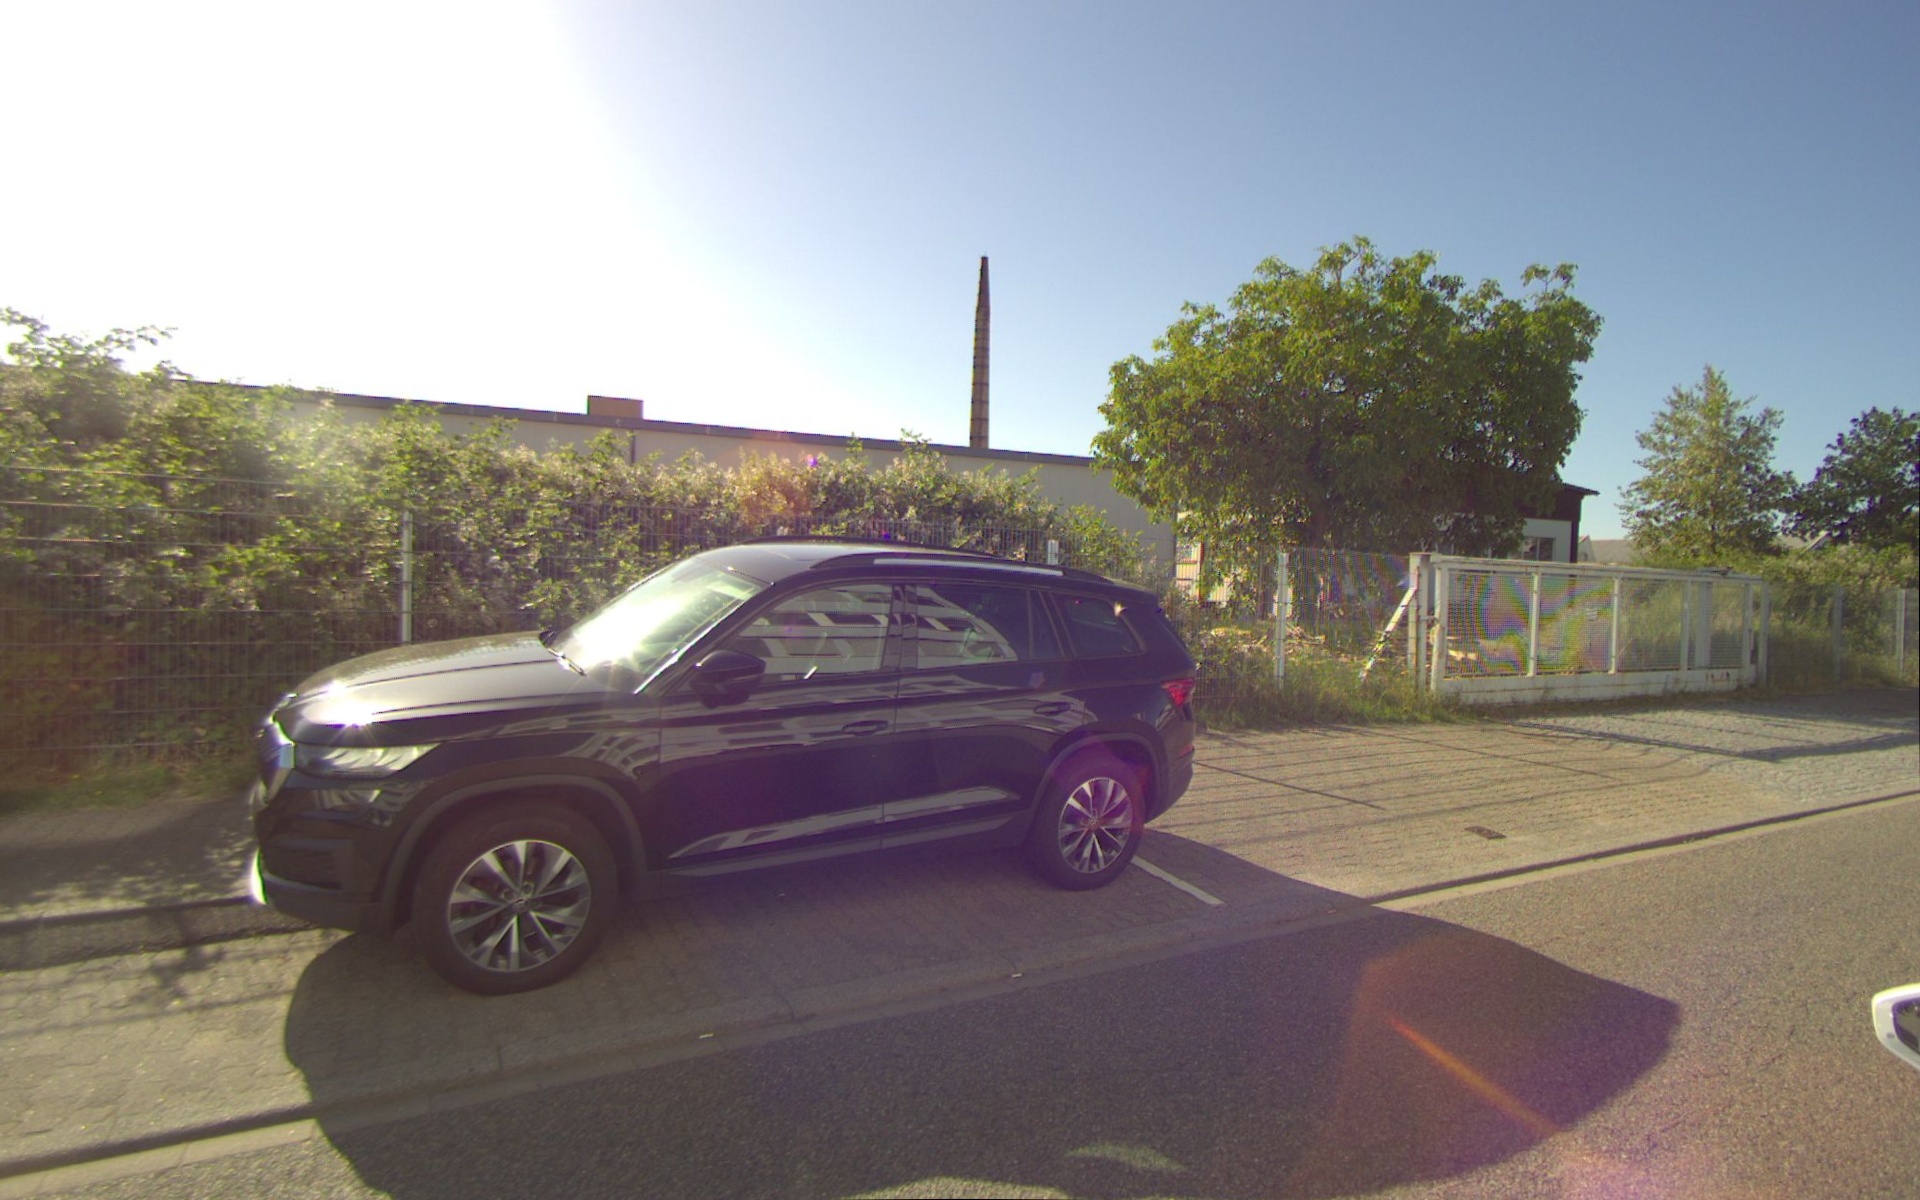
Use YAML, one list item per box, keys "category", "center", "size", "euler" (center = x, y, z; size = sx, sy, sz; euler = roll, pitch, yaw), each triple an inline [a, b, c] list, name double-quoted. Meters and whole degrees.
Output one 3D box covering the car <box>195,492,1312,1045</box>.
- category: "car"
  center: [-0.720, 0.489, 5.291]
  size: [5.049, 1.717, 2.019]
  euler: [1, 5, -32]
